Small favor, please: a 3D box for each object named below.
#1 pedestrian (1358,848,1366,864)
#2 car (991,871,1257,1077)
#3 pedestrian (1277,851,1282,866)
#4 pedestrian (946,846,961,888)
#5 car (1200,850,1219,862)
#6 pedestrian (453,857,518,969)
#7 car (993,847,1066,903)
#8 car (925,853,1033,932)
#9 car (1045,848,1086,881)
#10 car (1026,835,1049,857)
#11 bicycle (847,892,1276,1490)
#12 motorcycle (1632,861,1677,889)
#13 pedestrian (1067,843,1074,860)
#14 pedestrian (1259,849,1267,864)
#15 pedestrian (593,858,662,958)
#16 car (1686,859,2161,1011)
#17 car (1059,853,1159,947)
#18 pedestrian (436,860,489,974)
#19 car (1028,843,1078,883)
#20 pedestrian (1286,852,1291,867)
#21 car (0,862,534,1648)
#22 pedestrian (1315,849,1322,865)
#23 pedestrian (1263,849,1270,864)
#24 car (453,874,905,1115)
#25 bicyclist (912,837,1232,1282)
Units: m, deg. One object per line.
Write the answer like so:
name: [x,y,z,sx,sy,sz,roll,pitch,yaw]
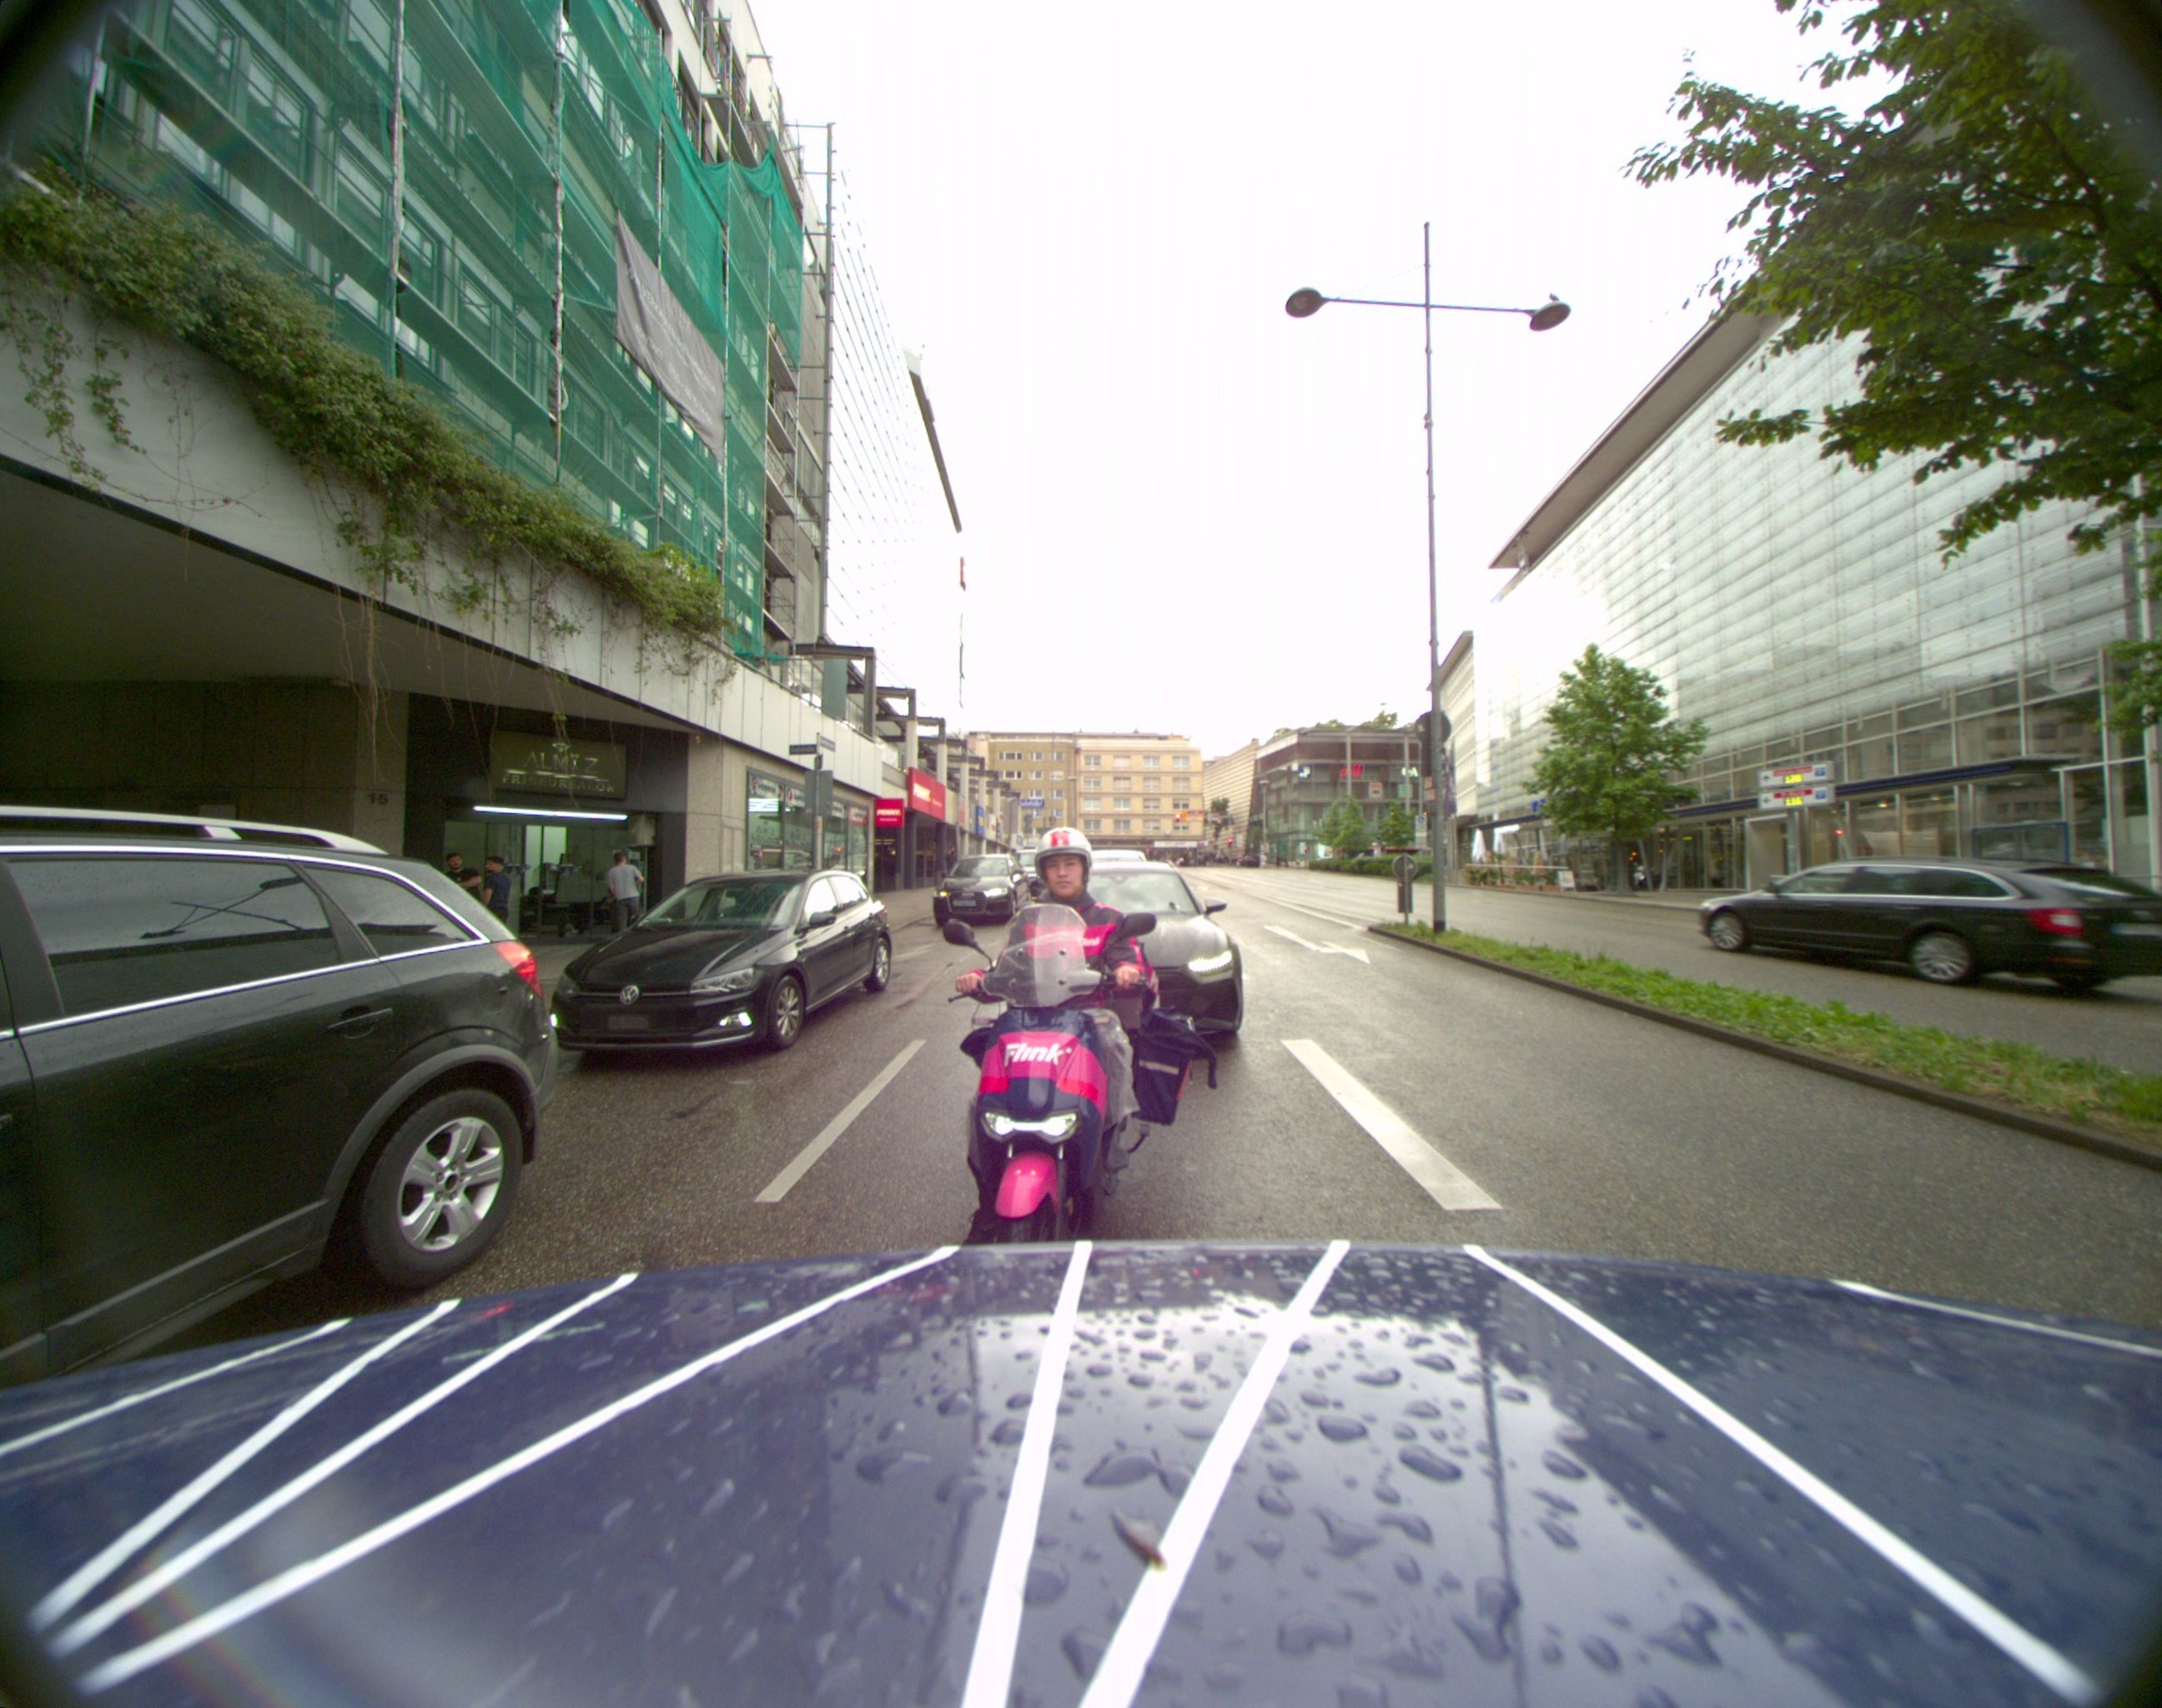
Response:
pedestrian: [30.616,0.192,82.823,0.626,1.764,0.689,-2,2,5]
car: [0.399,0.926,7.618,1.890,1.391,4.165,-2,-1,2]
pedestrian: [22.711,0.514,86.996,0.428,1.620,0.602,1,1,3]
pedestrian: [-5.085,0.510,30.304,0.510,1.669,0.579,0,2,0]
car: [22.916,0.384,135.807,2.000,2.002,4.584,0,1,-7]
pedestrian: [-8.875,0.857,11.347,0.640,1.586,0.576,-3,2,-32]
car: [-1.665,0.676,26.099,1.988,1.696,4.165,-2,0,2]
car: [-2.318,0.820,18.342,1.841,1.598,4.164,-2,1,2]
car: [-0.834,0.603,42.980,1.988,1.696,4.165,-2,0,2]
car: [-4.170,-0.810,73.582,1.605,2.002,3.400,-2,1,7]
bicycle: [-0.030,0.928,3.380,1.034,1.279,2.948,-2,1,1]
motorcycle: [28.144,1.023,37.311,1.707,1.319,0.620,0,1,1]
pedestrian: [-1.013,-0.272,72.491,0.634,1.620,0.602,0,1,-1]
pedestrian: [19.849,0.236,82.836,0.633,1.620,0.602,0,1,2]
pedestrian: [-7.811,0.912,13.097,0.732,1.633,0.640,-1,2,25]
car: [10.583,0.881,9.848,1.637,1.477,4.739,1,-2,-1]
car: [0.573,0.793,15.136,1.675,1.520,4.164,-2,1,2]
pedestrian: [-9.557,0.951,11.743,0.466,1.698,0.484,0,2,42]
car: [-1.241,0.414,35.709,1.988,1.696,4.165,-2,0,2]
pedestrian: [23.044,0.574,84.236,0.428,1.620,0.602,1,1,5]
car: [-3.327,0.919,1.241,1.764,1.755,4.164,-2,0,1]
pedestrian: [26.623,0.382,85.128,0.626,1.764,0.689,-2,2,7]
pedestrian: [19.925,0.262,81.488,0.633,1.620,0.602,1,1,4]
car: [-3.176,0.998,7.133,1.758,1.495,4.165,-2,-1,4]
bicyclist: [-0.023,0.716,3.065,1.063,1.534,0.825,-2,2,0]
